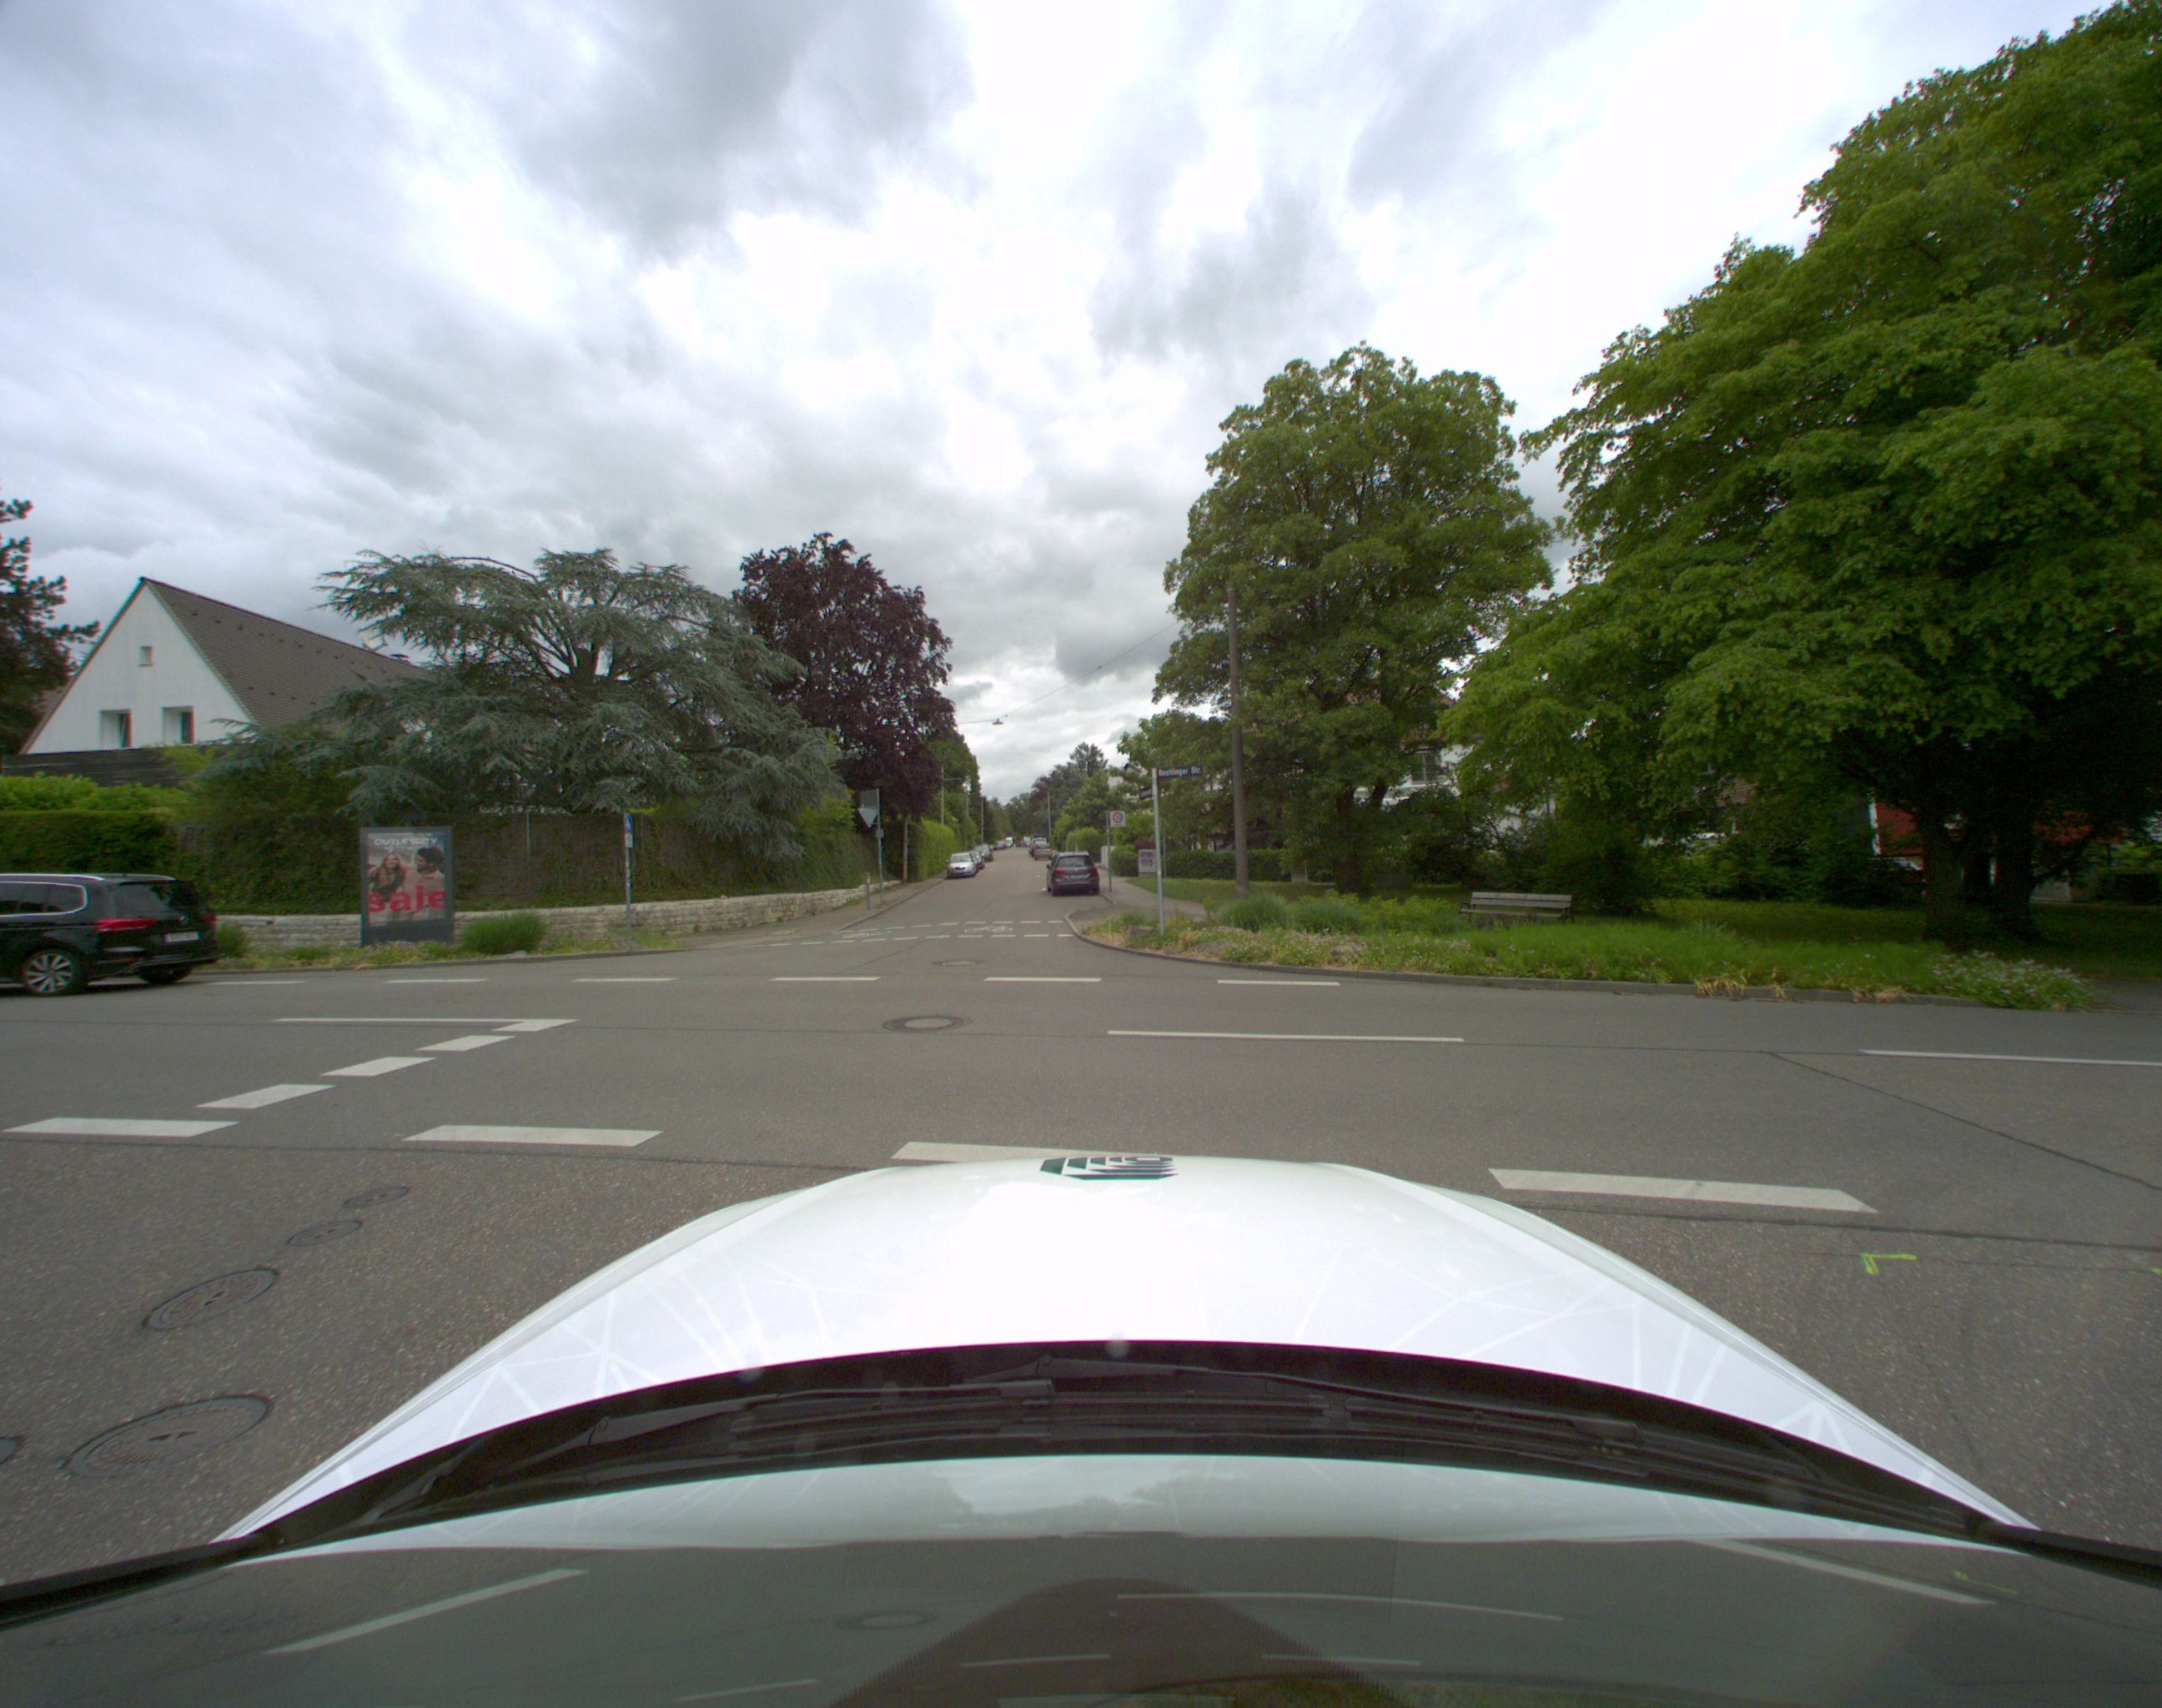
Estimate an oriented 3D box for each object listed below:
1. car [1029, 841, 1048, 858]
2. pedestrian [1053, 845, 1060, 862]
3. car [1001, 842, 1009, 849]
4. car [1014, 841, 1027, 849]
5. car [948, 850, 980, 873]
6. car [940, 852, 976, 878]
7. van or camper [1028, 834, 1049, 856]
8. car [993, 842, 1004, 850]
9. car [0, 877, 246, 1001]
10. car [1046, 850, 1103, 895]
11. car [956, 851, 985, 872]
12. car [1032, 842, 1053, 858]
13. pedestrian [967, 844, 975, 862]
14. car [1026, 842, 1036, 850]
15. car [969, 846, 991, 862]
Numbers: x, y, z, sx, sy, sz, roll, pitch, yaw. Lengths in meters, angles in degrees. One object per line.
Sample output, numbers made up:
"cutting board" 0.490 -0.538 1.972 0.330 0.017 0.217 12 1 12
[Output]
"car" -4.438 -0.489 83.976 1.745 1.640 3.720 -2 0 -6
"pedestrian" -2.618 -0.059 88.260 0.756 1.871 0.619 0 0 -5
"car" -15.980 -1.790 170.892 1.653 1.335 3.773 0 0 -6
"car" -13.241 -1.922 177.648 1.821 1.574 3.974 -2 0 -19
"car" -7.869 0.499 55.213 1.944 1.442 3.991 -2 0 -6
"car" -7.499 0.627 50.084 1.944 1.442 3.991 -2 0 -6
"van or camper" -5.023 -1.048 95.943 2.110 2.404 5.233 -2 0 -7
"car" -13.964 -1.362 138.318 1.712 1.463 3.651 0 0 -4
"car" -15.039 1.133 11.385 4.301 1.612 1.845 1 -2 -13
"car" -0.307 0.650 30.840 1.814 1.536 3.993 -3 0 -5
"car" -8.192 0.499 60.714 1.944 1.442 3.991 -2 0 -6
"car" -3.511 -0.342 74.106 1.607 1.413 3.464 0 0 -7
"pedestrian" -12.136 -0.103 89.940 0.853 2.013 0.870 0 0 -10
"car" -11.103 -1.802 181.705 1.939 1.796 4.183 0 0 -8
"car" -9.667 -0.025 78.176 1.944 1.442 3.991 -2 0 -6
